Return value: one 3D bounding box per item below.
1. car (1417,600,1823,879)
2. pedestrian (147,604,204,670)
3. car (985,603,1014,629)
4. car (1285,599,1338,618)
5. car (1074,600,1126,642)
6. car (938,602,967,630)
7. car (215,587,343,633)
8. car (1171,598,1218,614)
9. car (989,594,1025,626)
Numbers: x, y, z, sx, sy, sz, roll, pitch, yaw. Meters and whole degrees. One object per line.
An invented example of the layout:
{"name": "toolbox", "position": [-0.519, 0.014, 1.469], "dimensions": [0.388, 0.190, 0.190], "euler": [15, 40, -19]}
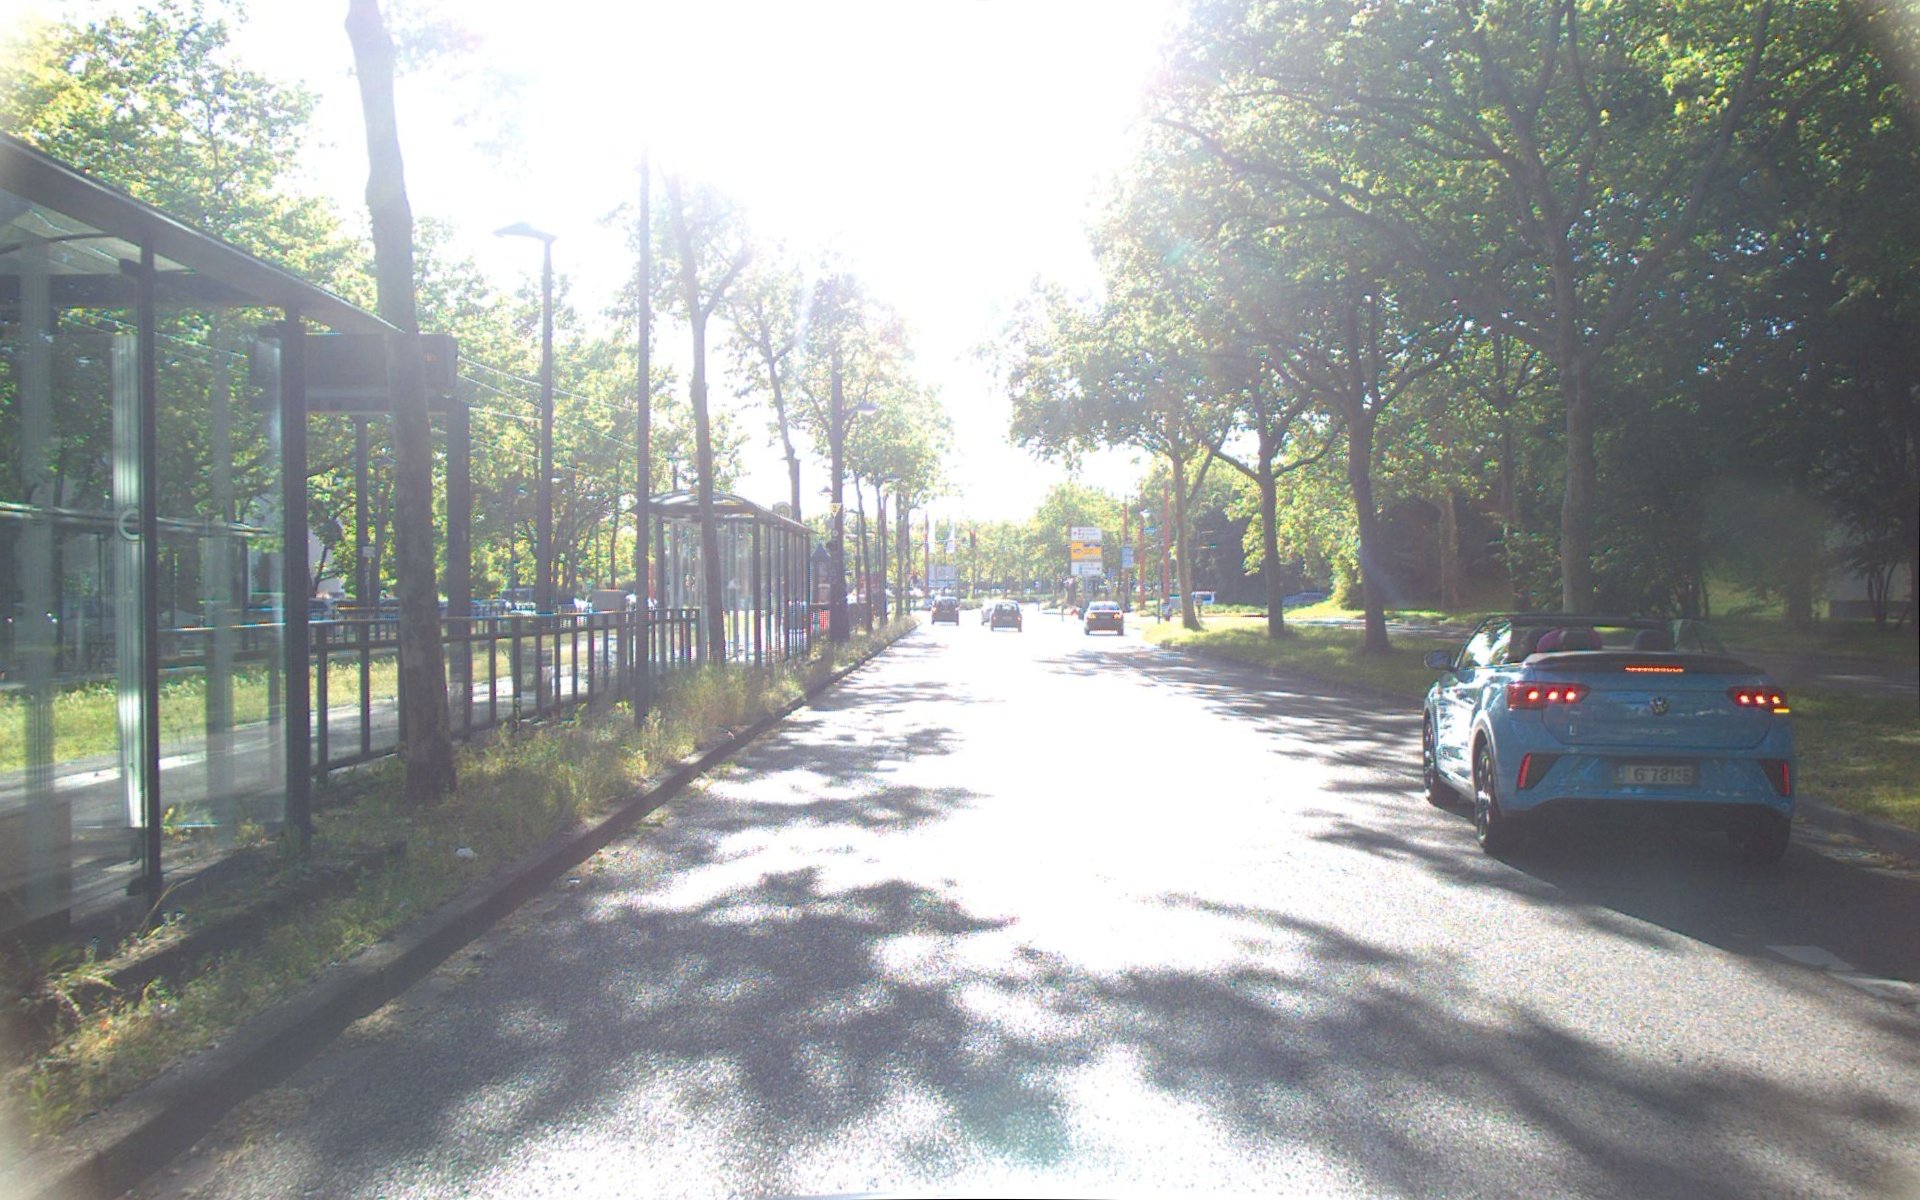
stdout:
{"name": "car", "position": [4.256, 0.774, 11.338], "dimensions": [1.738, 1.509, 4.104], "euler": [1, 0, 10]}
{"name": "pedestrian", "position": [-14.378, 0.675, 30.329], "dimensions": [0.680, 1.147, 0.662], "euler": [-3, -1, 0]}
{"name": "car", "position": [2.360, 0.959, 99.500], "dimensions": [1.644, 1.501, 4.130], "euler": [1, 0, 0]}
{"name": "car", "position": [30.585, 0.730, 143.922], "dimensions": [4.264, 1.586, 1.871], "euler": [1, -1, 25]}
{"name": "car", "position": [6.433, 0.947, 76.427], "dimensions": [1.941, 1.823, 4.613], "euler": [1, 0, -1]}
{"name": "car", "position": [-0.470, 0.934, 98.849], "dimensions": [1.676, 1.631, 3.349], "euler": [0, 0, -2]}
{"name": "car", "position": [-24.495, 0.344, 59.570], "dimensions": [3.960, 1.571, 1.621], "euler": [0, 1, -42]}
{"name": "car", "position": [21.086, 0.556, 148.790], "dimensions": [3.908, 1.361, 1.727], "euler": [1, -1, 26]}
{"name": "car", "position": [2.343, 0.498, 83.626], "dimensions": [1.605, 1.520, 3.502], "euler": [1, 1, -1]}
